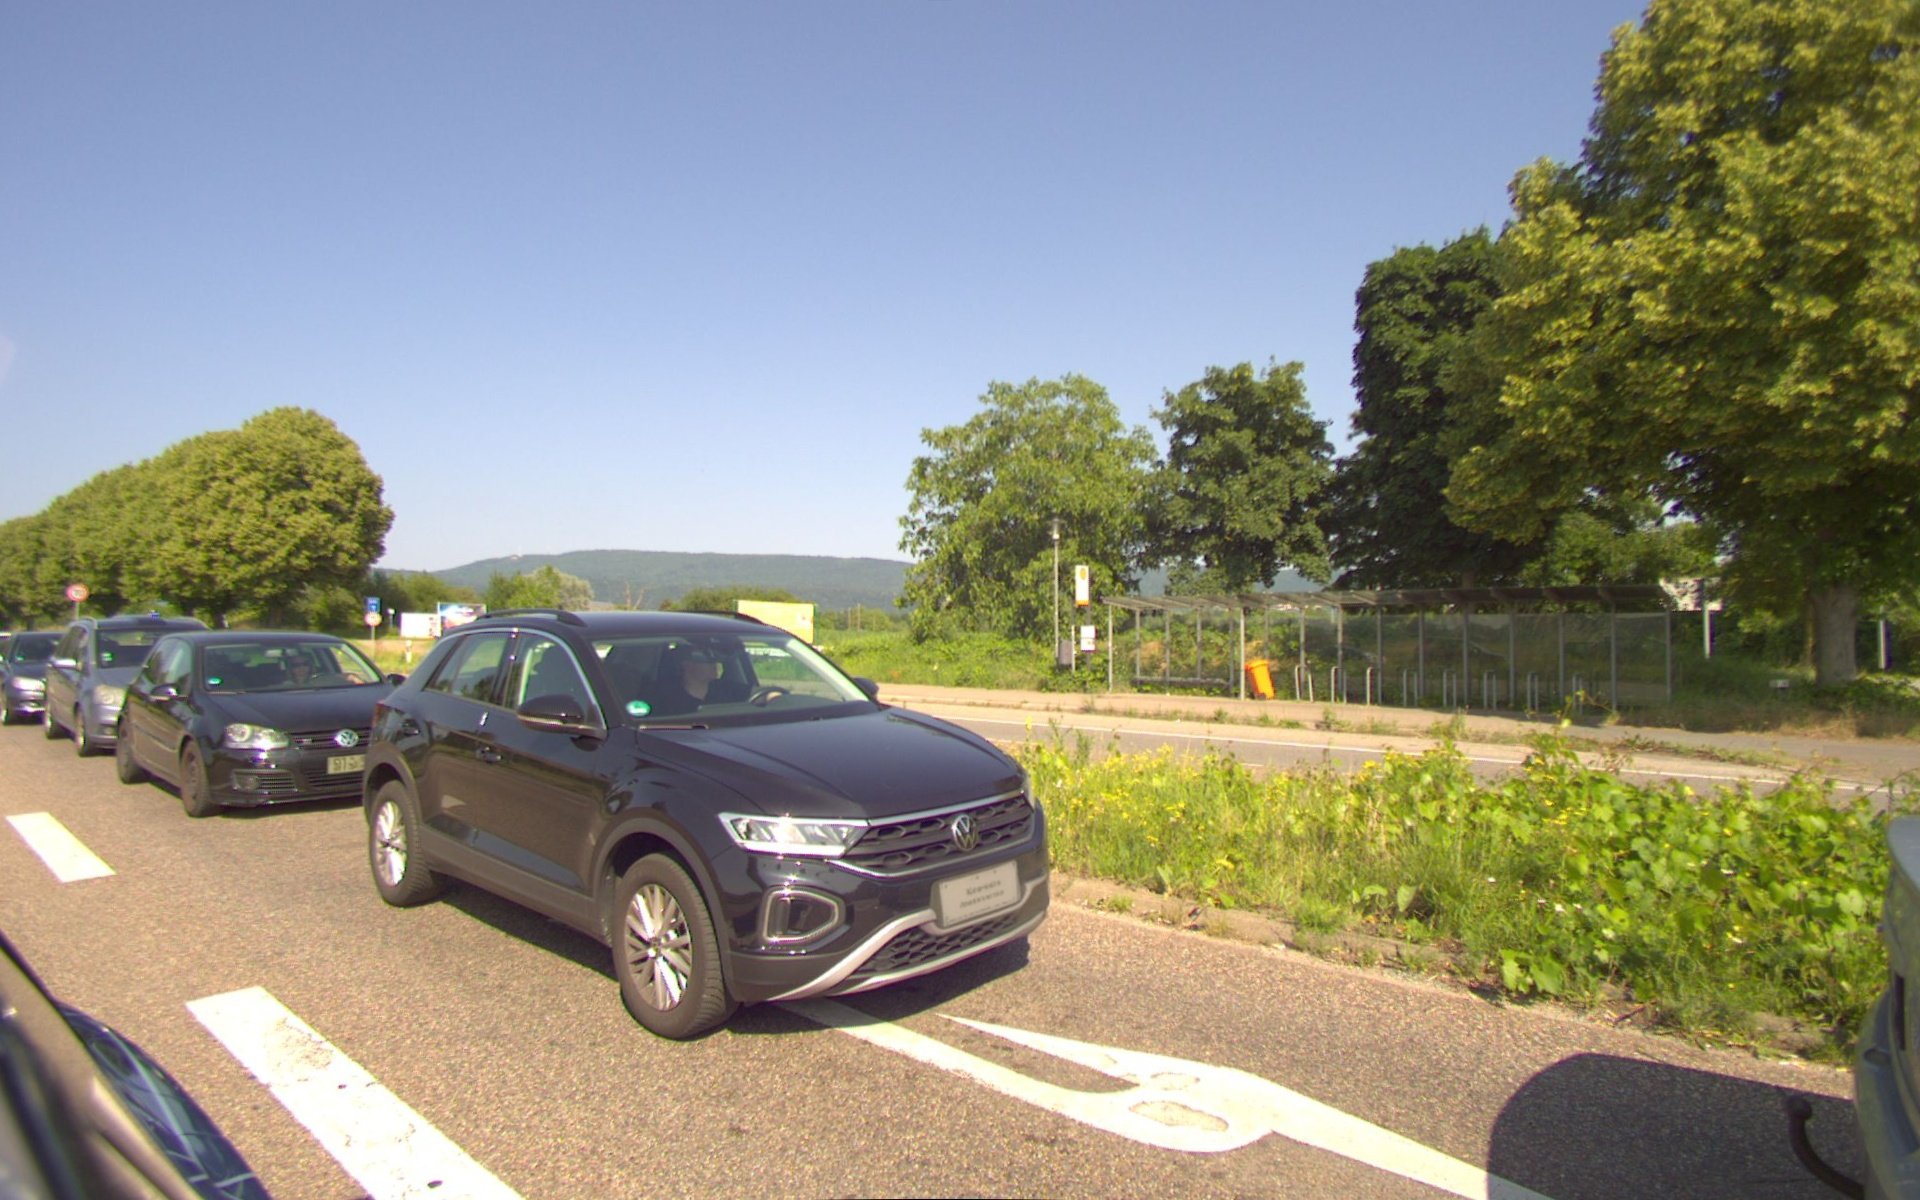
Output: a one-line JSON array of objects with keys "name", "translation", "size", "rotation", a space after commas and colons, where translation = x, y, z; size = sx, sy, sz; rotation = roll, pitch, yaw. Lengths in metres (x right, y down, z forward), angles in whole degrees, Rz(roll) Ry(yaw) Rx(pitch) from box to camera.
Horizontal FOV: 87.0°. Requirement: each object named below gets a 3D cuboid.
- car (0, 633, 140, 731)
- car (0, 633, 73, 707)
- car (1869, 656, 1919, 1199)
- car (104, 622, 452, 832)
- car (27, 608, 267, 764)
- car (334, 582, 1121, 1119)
[{"name": "car", "translation": [-15.255, 1.278, 16.926], "size": [4.353, 1.421, 1.696], "rotation": [-2, -2, 42]}, {"name": "car", "translation": [-20.425, 1.428, 21.504], "size": [4.639, 1.436, 1.784], "rotation": [-2, -2, 41]}, {"name": "car", "translation": [3.354, 0.746, 0.624], "size": [4.096, 1.345, 1.656], "rotation": [-2, -3, 42]}, {"name": "car", "translation": [-6.304, 0.966, 9.169], "size": [4.096, 1.486, 1.648], "rotation": [-2, -2, 42]}, {"name": "car", "translation": [-10.600, 0.993, 13.073], "size": [4.355, 1.685, 1.723], "rotation": [-2, -2, 42]}, {"name": "car", "translation": [-1.420, 0.790, 4.968], "size": [4.096, 1.559, 1.710], "rotation": [-2, -2, 42]}]
